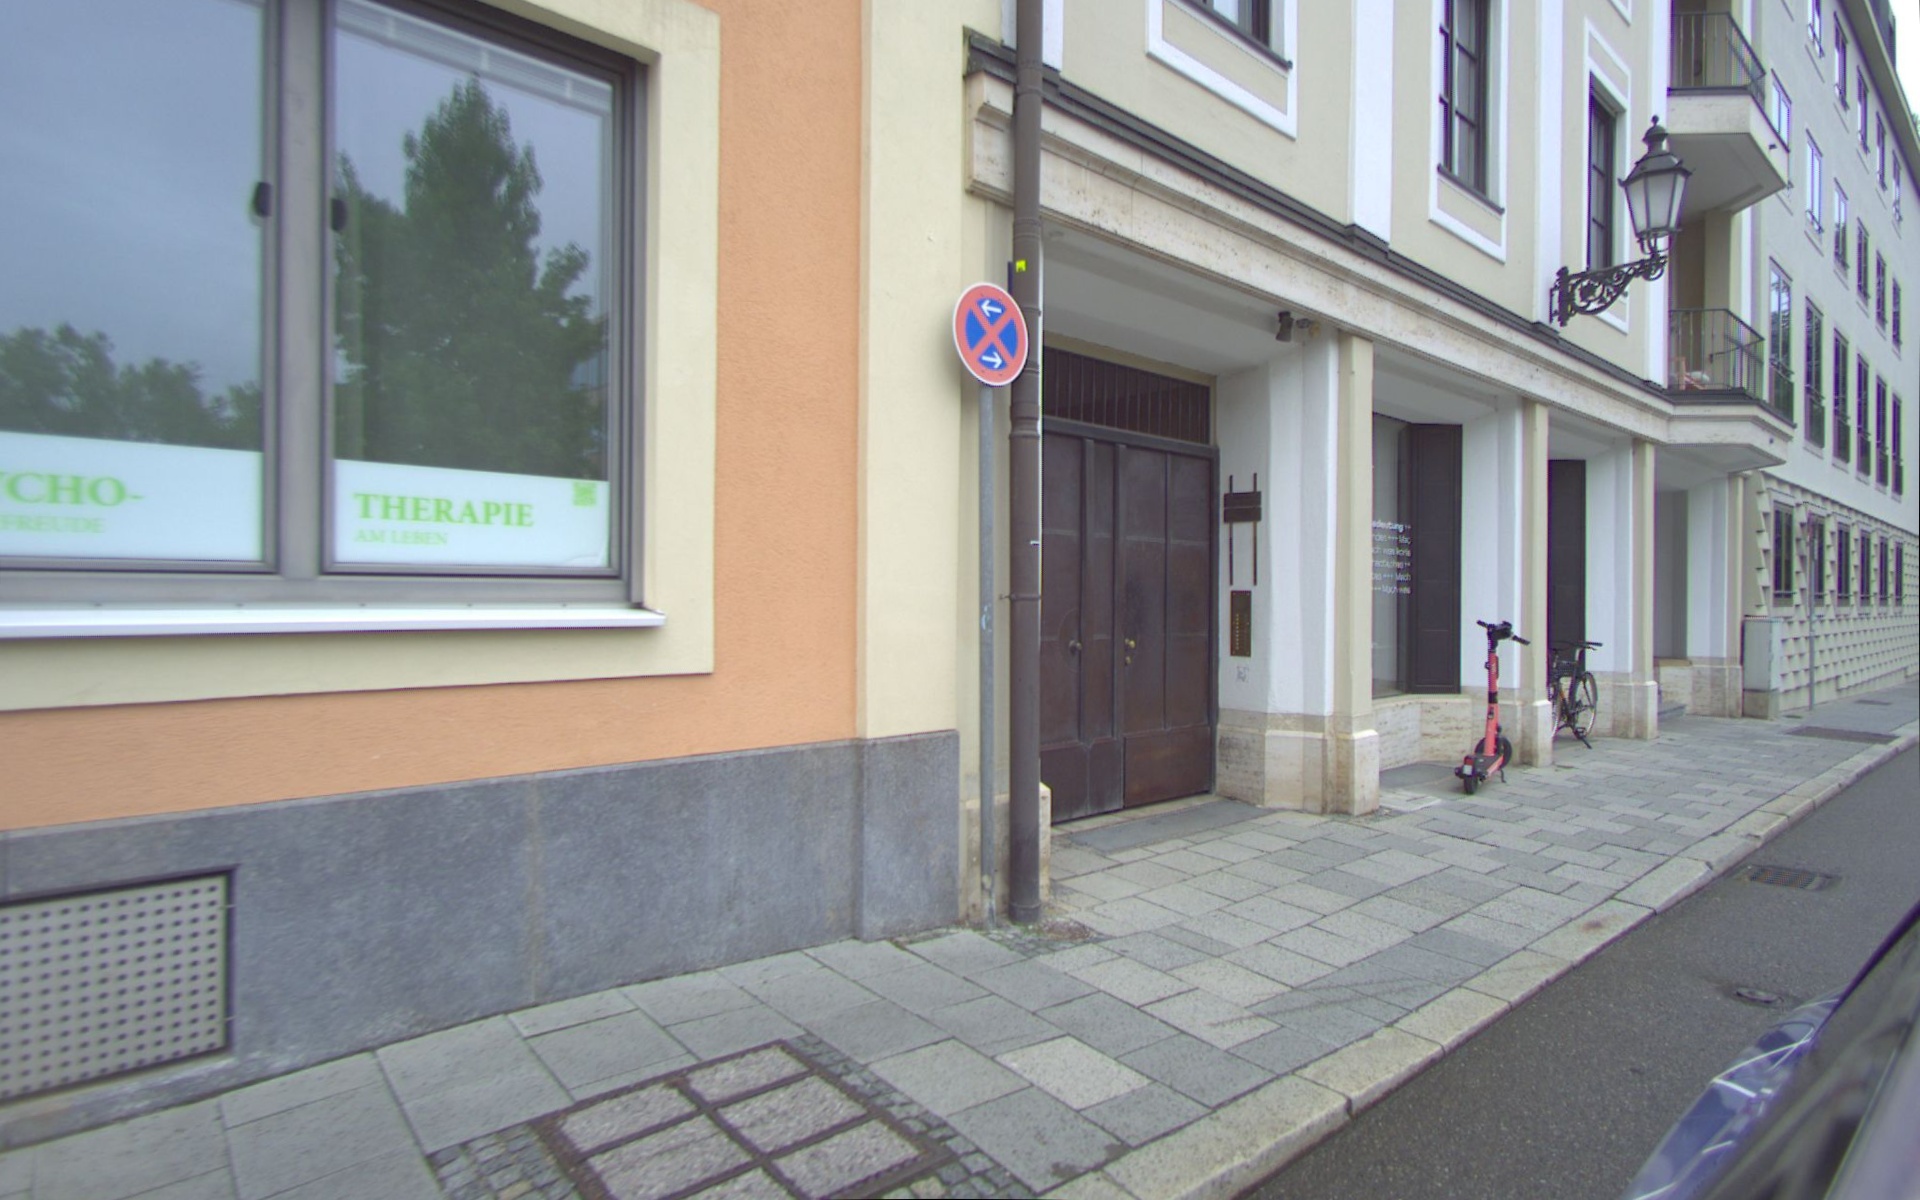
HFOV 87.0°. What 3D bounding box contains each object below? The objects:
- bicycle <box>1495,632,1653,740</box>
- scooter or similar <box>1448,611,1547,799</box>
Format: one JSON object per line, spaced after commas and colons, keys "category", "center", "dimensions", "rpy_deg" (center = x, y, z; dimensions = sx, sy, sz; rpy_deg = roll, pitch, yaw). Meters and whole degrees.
{"category": "bicycle", "center": [6.369, 0.870, 10.451], "dimensions": [2.037, 1.006, 0.466], "rpy_deg": [3, 0, -31]}
{"category": "scooter or similar", "center": [4.150, 0.748, 7.782], "dimensions": [0.463, 1.274, 1.261], "rpy_deg": [4, 2, 35]}
